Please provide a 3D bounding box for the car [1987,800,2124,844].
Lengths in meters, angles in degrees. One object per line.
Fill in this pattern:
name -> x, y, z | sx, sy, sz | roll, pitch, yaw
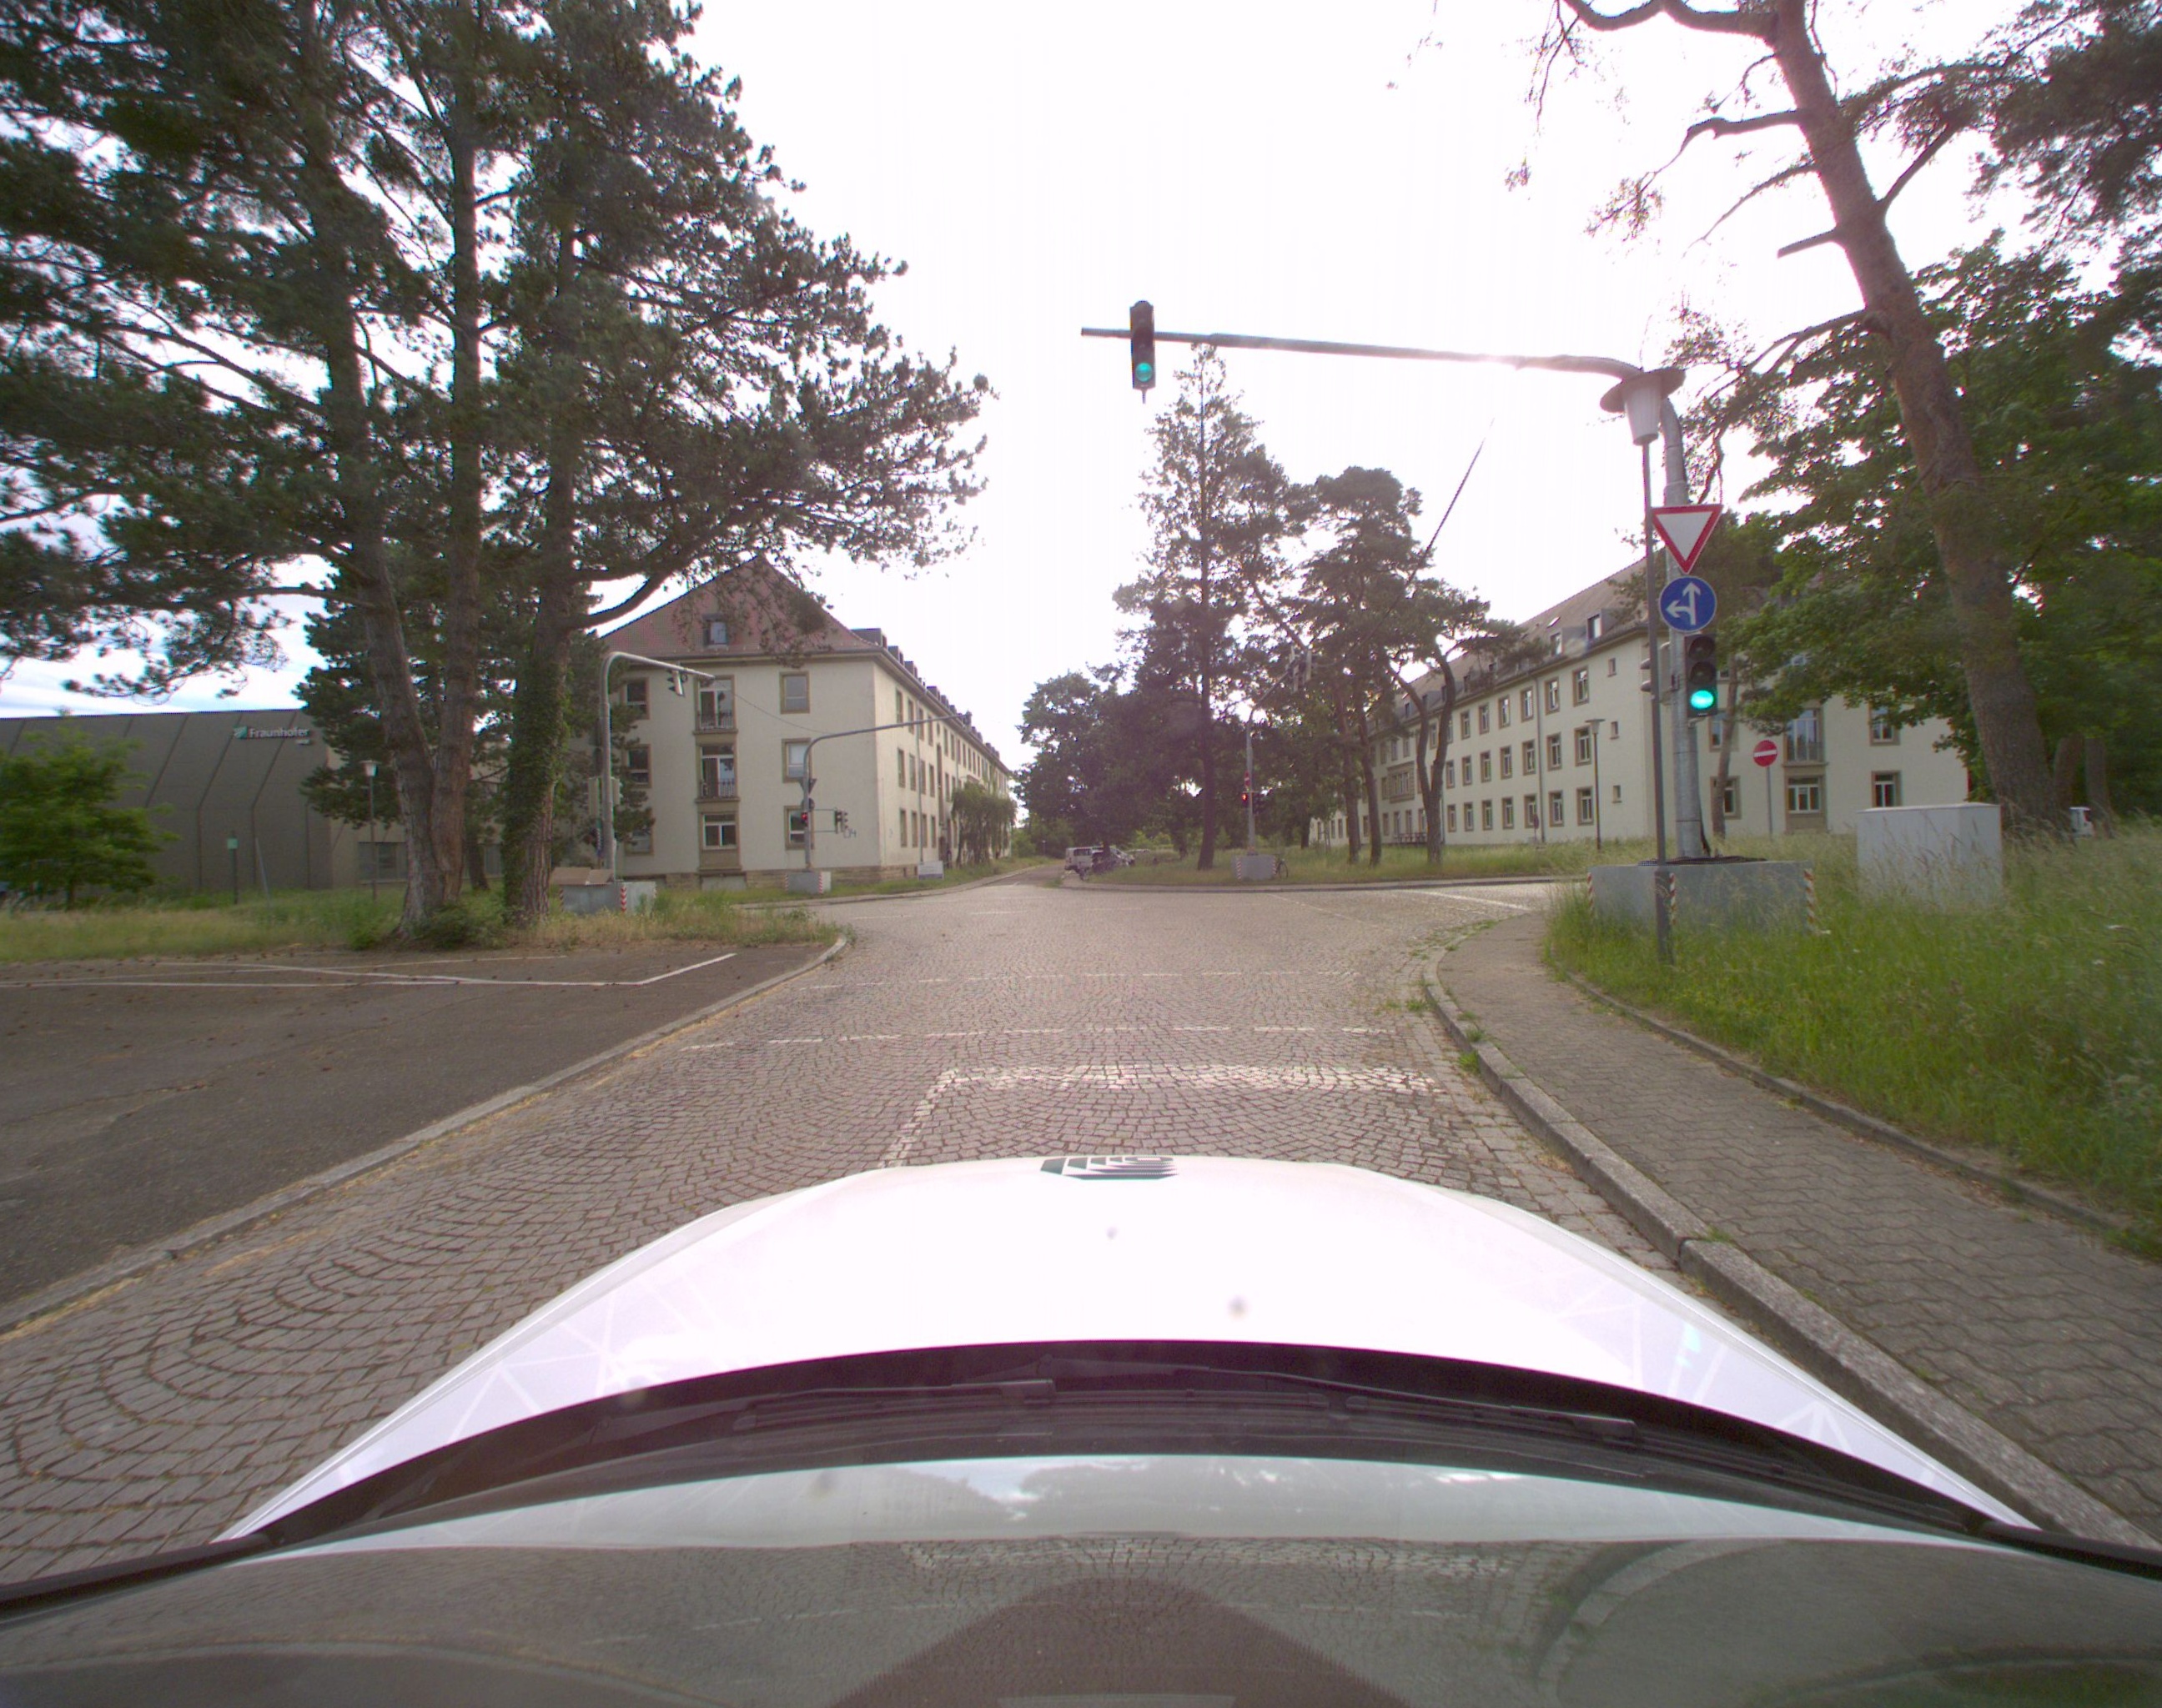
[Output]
car -> 56.702, -1.830, 47.473 | 5.160, 2.288, 2.214 | -2, 0, 2

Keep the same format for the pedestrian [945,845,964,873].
pedestrian -> -9.185, 0.350, 59.201 | 1.081, 2.013, 1.023 | -2, 0, 6

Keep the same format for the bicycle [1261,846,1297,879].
bicycle -> 7.565, 0.322, 31.251 | 0.905, 1.177, 1.874 | -2, 0, 0

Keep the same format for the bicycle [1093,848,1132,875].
bicycle -> 1.700, 0.424, 44.256 | 2.062, 1.378, 0.620 | -2, 0, 1

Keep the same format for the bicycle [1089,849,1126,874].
bicycle -> 1.520, 0.430, 46.479 | 2.062, 1.378, 0.620 | -2, 0, 1

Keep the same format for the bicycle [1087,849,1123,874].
bicycle -> 1.411, 0.437, 47.966 | 2.062, 1.378, 0.620 | -2, 0, 1

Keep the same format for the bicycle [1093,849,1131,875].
bicycle -> 1.708, 0.426, 44.881 | 2.062, 1.378, 0.620 | -2, 0, 1

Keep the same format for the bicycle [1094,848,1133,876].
bicycle -> 1.731, 0.422, 43.585 | 2.062, 1.378, 0.620 | -2, 0, 1

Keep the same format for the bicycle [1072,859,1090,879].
bicycle -> 0.017, 0.760, 41.805 | 0.614, 0.963, 2.081 | -2, 0, 8

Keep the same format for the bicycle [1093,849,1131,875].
bicycle -> 1.731, 0.429, 45.678 | 2.062, 1.378, 0.620 | -2, 0, 1

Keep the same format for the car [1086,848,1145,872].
car -> 2.433, 0.428, 58.102 | 3.925, 1.544, 1.997 | -2, 0, -4

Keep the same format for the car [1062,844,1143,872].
car -> 1.600, 0.300, 61.482 | 5.695, 1.910, 2.221 | -2, 0, -12
